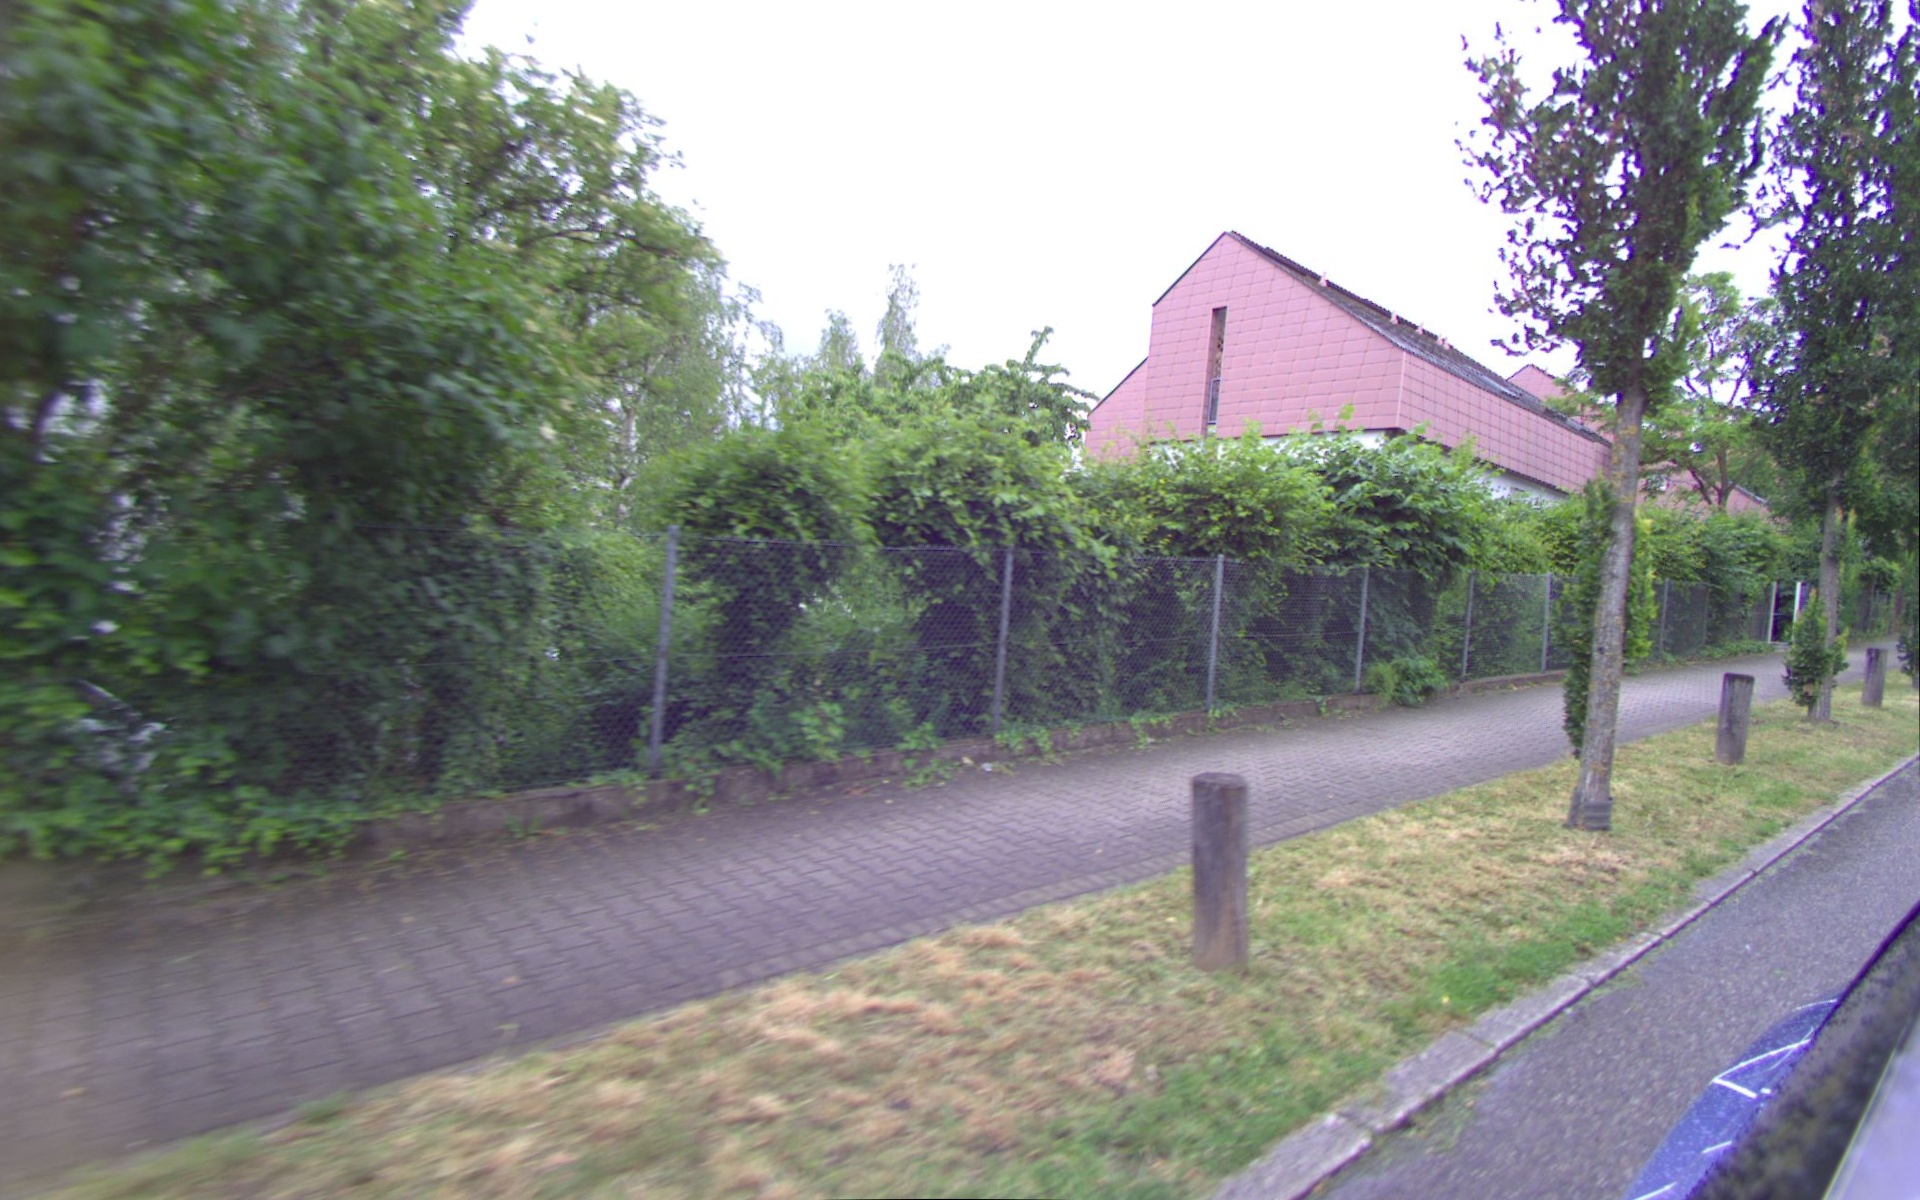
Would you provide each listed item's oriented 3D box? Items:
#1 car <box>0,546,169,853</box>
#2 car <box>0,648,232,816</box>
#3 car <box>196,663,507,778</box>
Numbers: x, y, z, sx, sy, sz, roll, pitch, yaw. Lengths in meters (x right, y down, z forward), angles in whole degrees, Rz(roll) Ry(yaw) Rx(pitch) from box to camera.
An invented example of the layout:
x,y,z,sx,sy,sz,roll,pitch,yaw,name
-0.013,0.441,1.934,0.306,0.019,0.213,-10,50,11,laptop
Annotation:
x,y,z,sx,sy,sz,roll,pitch,yaw,name
-6.054,0.460,4.480,3.930,1.453,1.506,1,-1,-42,car
-9.789,1.247,9.909,1.698,1.563,4.360,1,-6,8,car
-8.954,1.755,15.415,1.698,1.440,4.289,1,-5,8,car
